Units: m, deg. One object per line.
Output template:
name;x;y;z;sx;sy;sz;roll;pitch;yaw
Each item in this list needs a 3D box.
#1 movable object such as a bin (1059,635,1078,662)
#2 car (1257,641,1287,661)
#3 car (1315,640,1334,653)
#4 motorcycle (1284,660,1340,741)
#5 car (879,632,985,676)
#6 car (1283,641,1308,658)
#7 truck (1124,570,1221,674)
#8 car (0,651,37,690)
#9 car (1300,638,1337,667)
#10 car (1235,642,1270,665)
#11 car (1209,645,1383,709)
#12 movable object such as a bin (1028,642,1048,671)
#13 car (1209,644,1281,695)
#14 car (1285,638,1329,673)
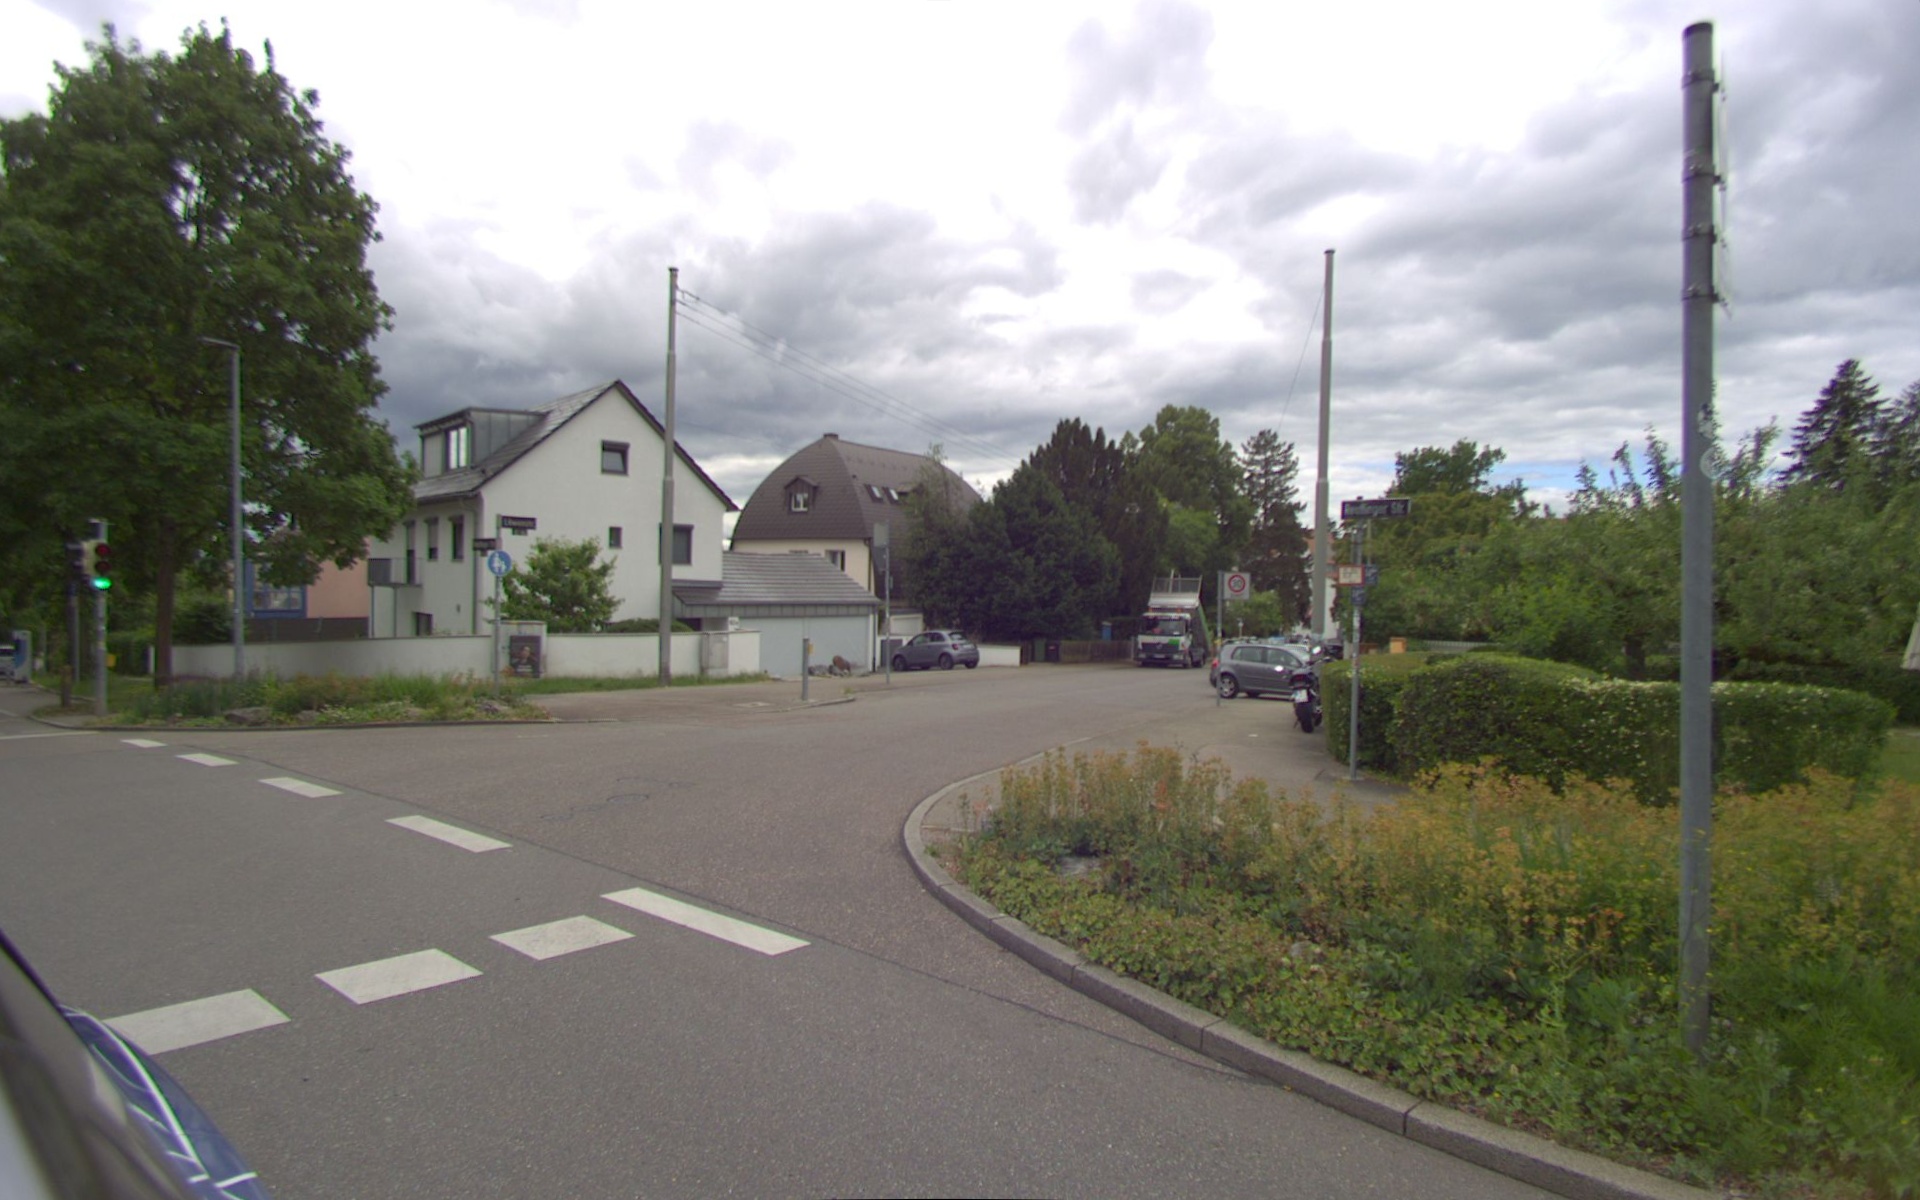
movable object such as a bin;4.646;2.068;43.350;0.596;1.114;0.944;-2;-6;22
car;25.606;4.189;83.027;1.866;1.564;3.792;1;-2;25
car;45.652;5.822;126.619;1.866;1.564;3.792;1;-2;25
motorcycle;5.673;1.586;16.396;0.769;1.148;2.133;2;-2;18
car;-1.098;2.079;38.615;3.854;1.508;1.670;-5;-5;39
car;32.303;4.737;97.401;1.866;1.564;3.792;1;-2;25
truck;10.559;1.121;49.627;3.135;4.586;7.891;2;-2;23
car;-42.771;3.113;45.013;1.967;1.564;4.010;2;-2;-35
car;20.672;2.978;58.312;1.613;1.479;3.284;4;0;25
car;21.108;3.813;72.860;1.866;1.564;3.792;1;-2;25
car;8.755;1.968;26.573;4.001;1.473;1.713;-1;-3;44
movable object such as a bin;3.374;2.474;43.859;0.596;1.217;0.944;-2;-6;22
car;9.549;2.257;33.716;1.749;1.455;3.772;3;-1;23
car;16.747;2.630;48.755;1.613;1.479;3.284;4;0;25
